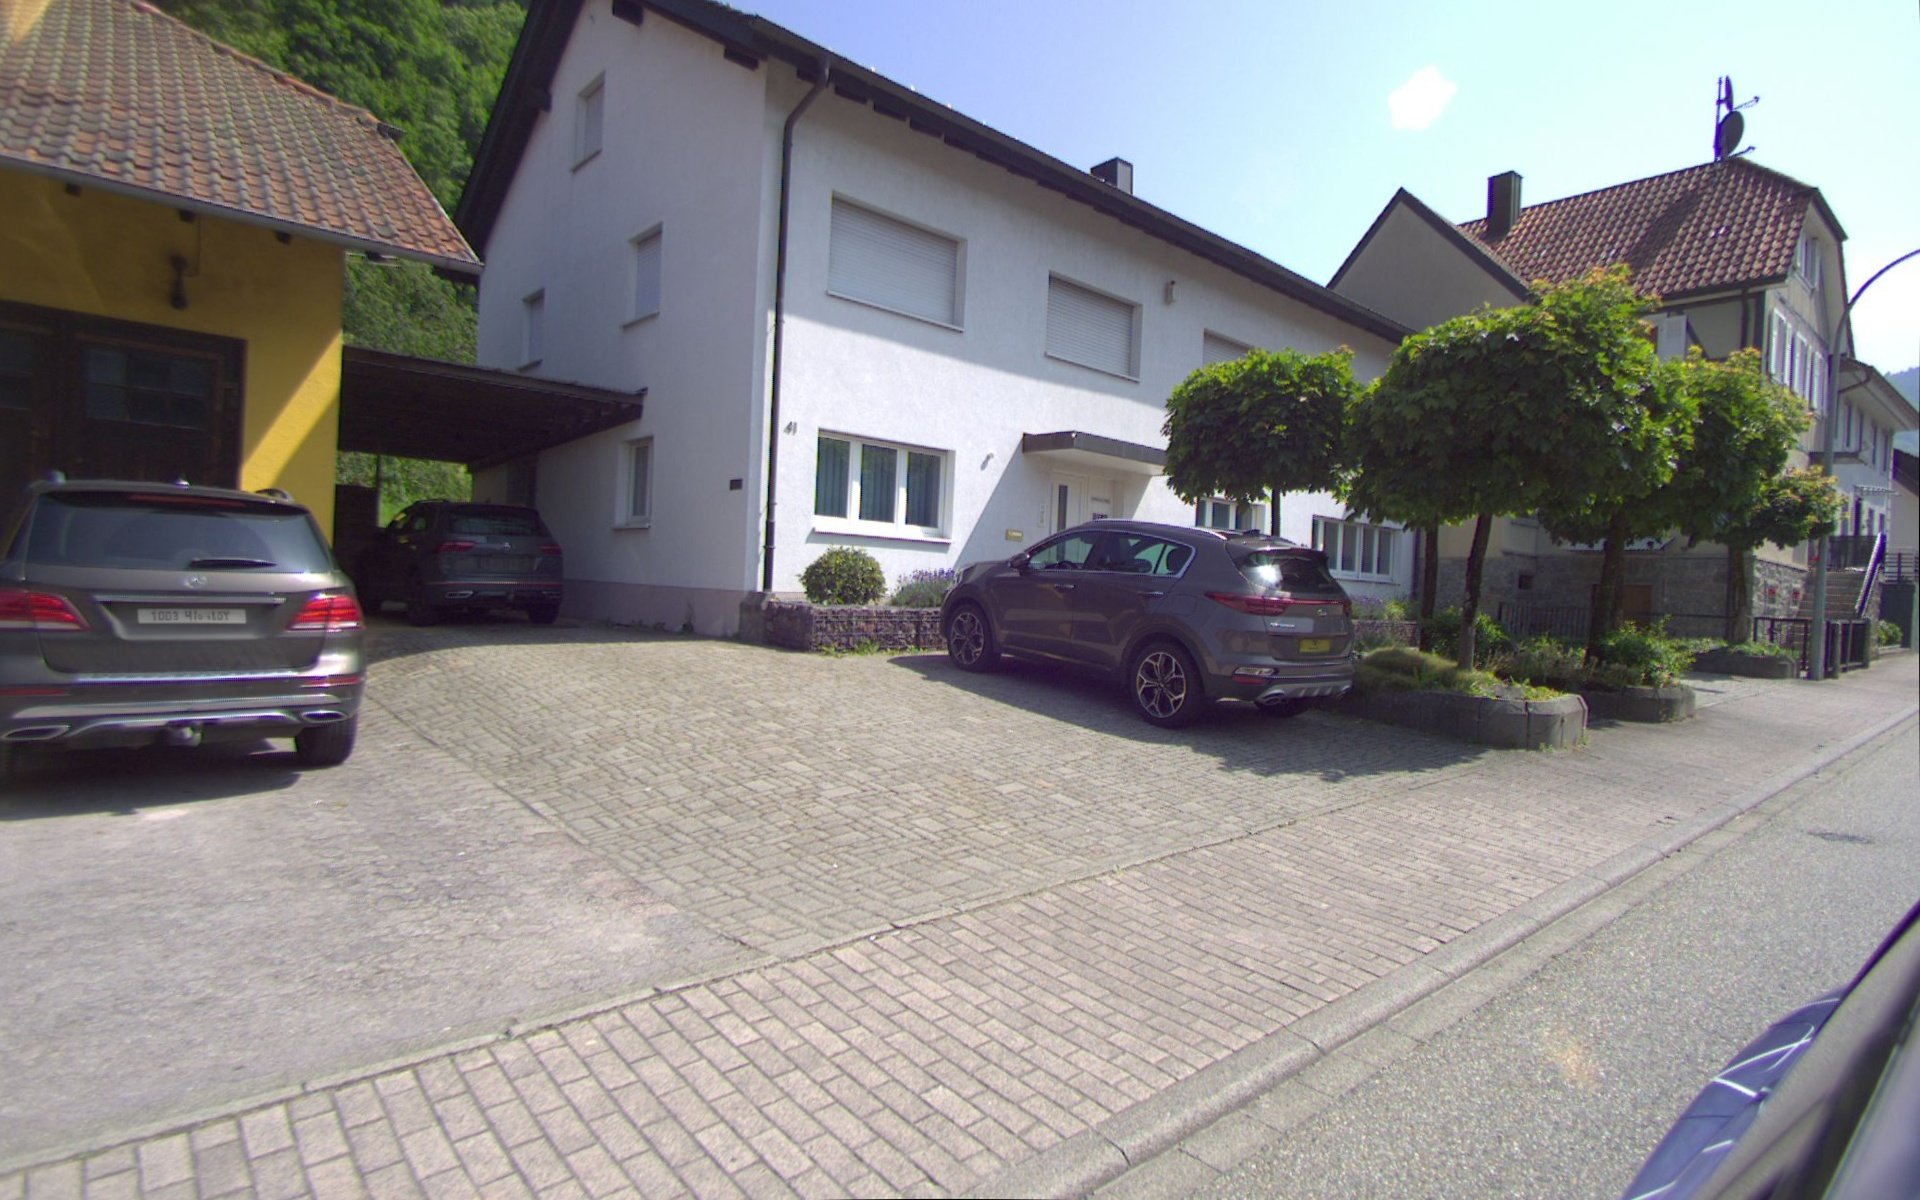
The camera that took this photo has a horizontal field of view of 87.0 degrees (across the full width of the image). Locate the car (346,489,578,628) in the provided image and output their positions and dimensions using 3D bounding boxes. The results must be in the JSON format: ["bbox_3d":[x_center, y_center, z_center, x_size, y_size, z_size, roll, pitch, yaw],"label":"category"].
[{"bbox_3d":[-7.108,-0.613,14.253,1.840,1.664,3.993,0,3,-43],"label":"car"}]

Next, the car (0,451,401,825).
[{"bbox_3d":[-5.641,0.058,6.918,4.420,1.780,1.922,4,3,43],"label":"car"}]

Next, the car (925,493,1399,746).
[{"bbox_3d":[1.631,-0.025,9.624,1.744,1.706,4.238,0,7,-37],"label":"car"}]
